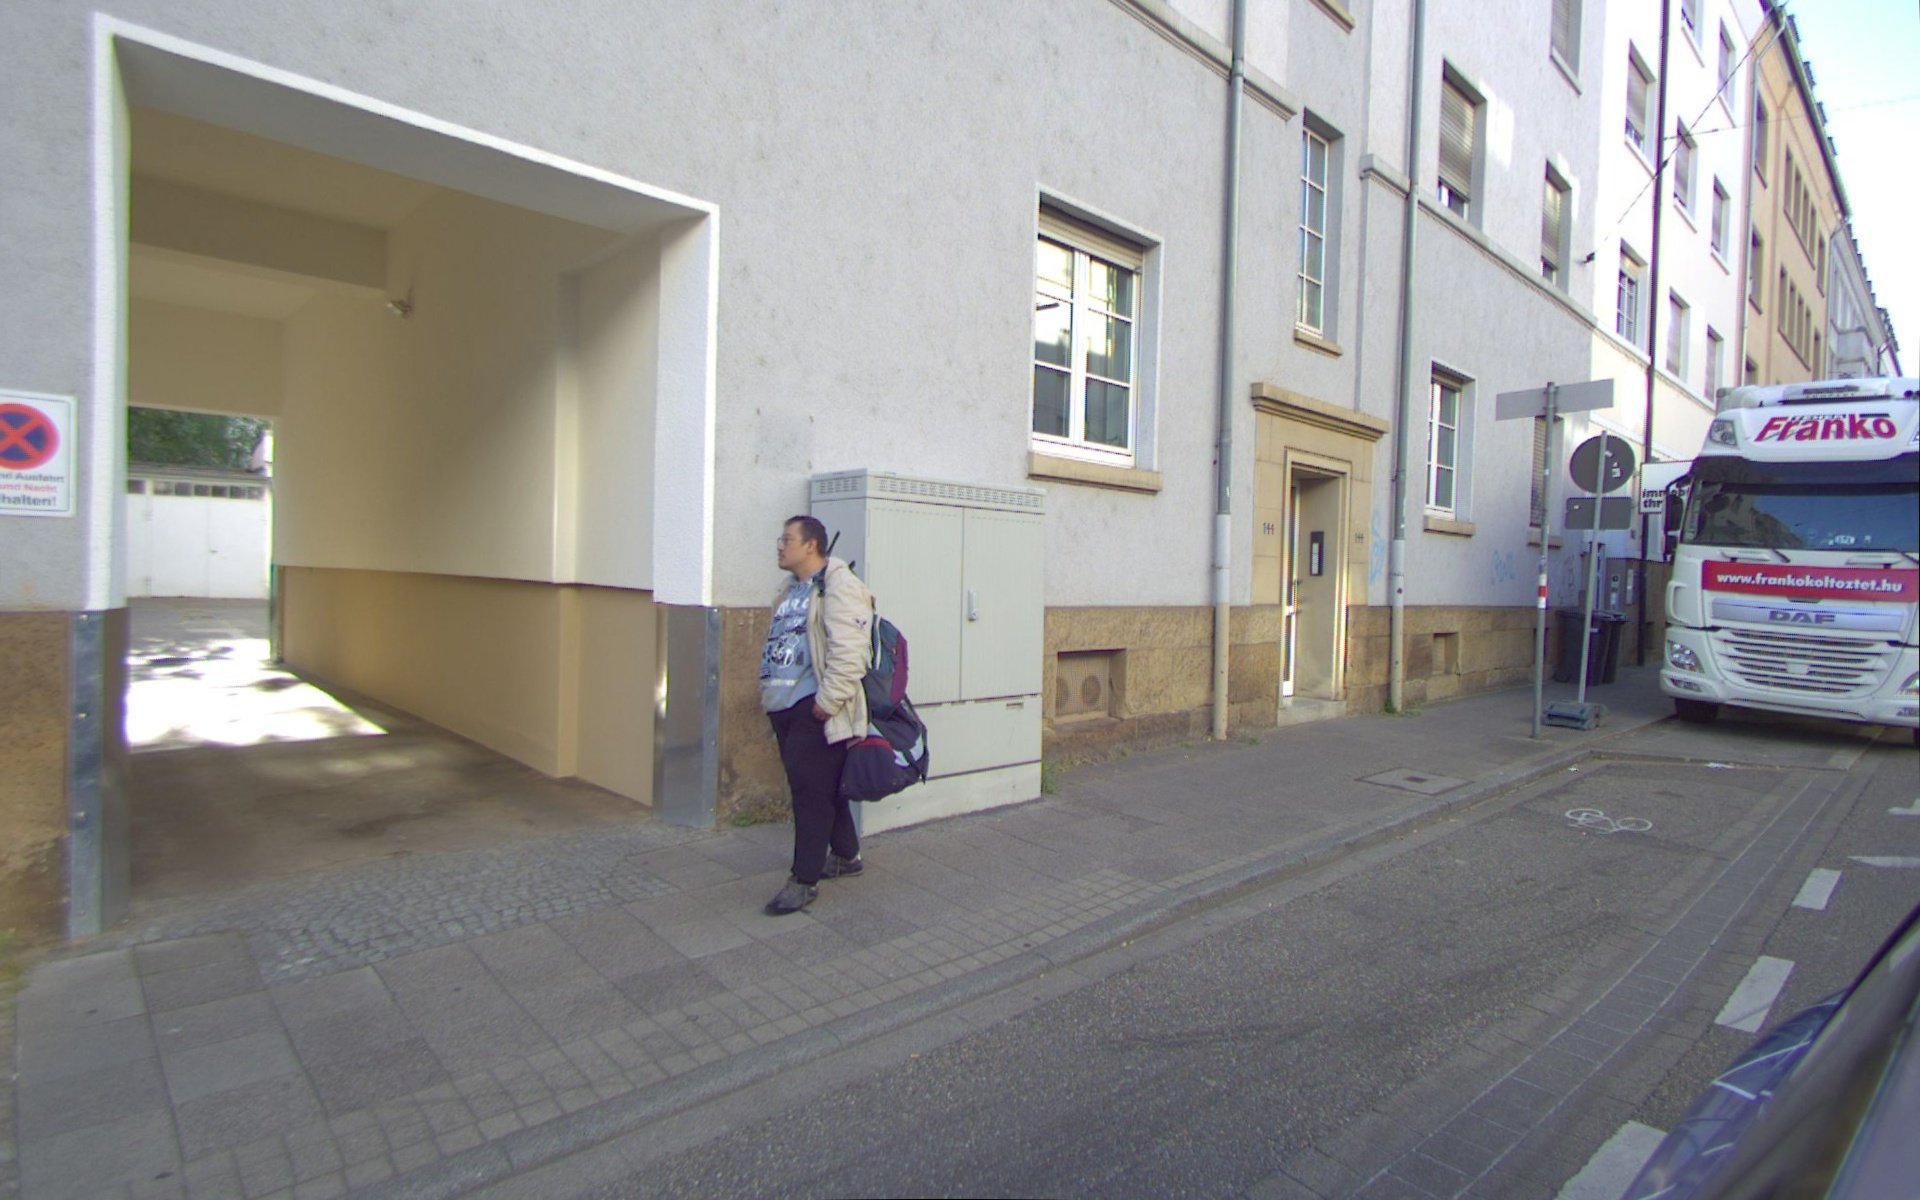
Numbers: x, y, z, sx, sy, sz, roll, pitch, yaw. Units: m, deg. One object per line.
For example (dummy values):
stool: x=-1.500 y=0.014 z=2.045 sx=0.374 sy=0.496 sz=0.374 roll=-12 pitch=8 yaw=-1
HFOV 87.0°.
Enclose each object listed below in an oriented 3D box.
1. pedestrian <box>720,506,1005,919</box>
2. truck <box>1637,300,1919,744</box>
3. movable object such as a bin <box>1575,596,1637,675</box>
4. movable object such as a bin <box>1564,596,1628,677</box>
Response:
pedestrian: x=-0.432 y=0.400 z=4.394 sx=0.854 sy=1.552 sz=0.827 roll=0 pitch=3 yaw=-42
truck: x=12.664 y=-0.765 z=13.888 sx=11.578 sy=4.123 sz=2.864 roll=0 pitch=2 yaw=-43
movable object such as a bin: x=9.581 y=0.505 z=15.016 sx=0.658 sy=1.118 sz=0.533 roll=2 pitch=2 yaw=44
movable object such as a bin: x=9.170 y=0.510 z=14.602 sx=0.658 sy=1.118 sz=0.533 roll=2 pitch=2 yaw=44
